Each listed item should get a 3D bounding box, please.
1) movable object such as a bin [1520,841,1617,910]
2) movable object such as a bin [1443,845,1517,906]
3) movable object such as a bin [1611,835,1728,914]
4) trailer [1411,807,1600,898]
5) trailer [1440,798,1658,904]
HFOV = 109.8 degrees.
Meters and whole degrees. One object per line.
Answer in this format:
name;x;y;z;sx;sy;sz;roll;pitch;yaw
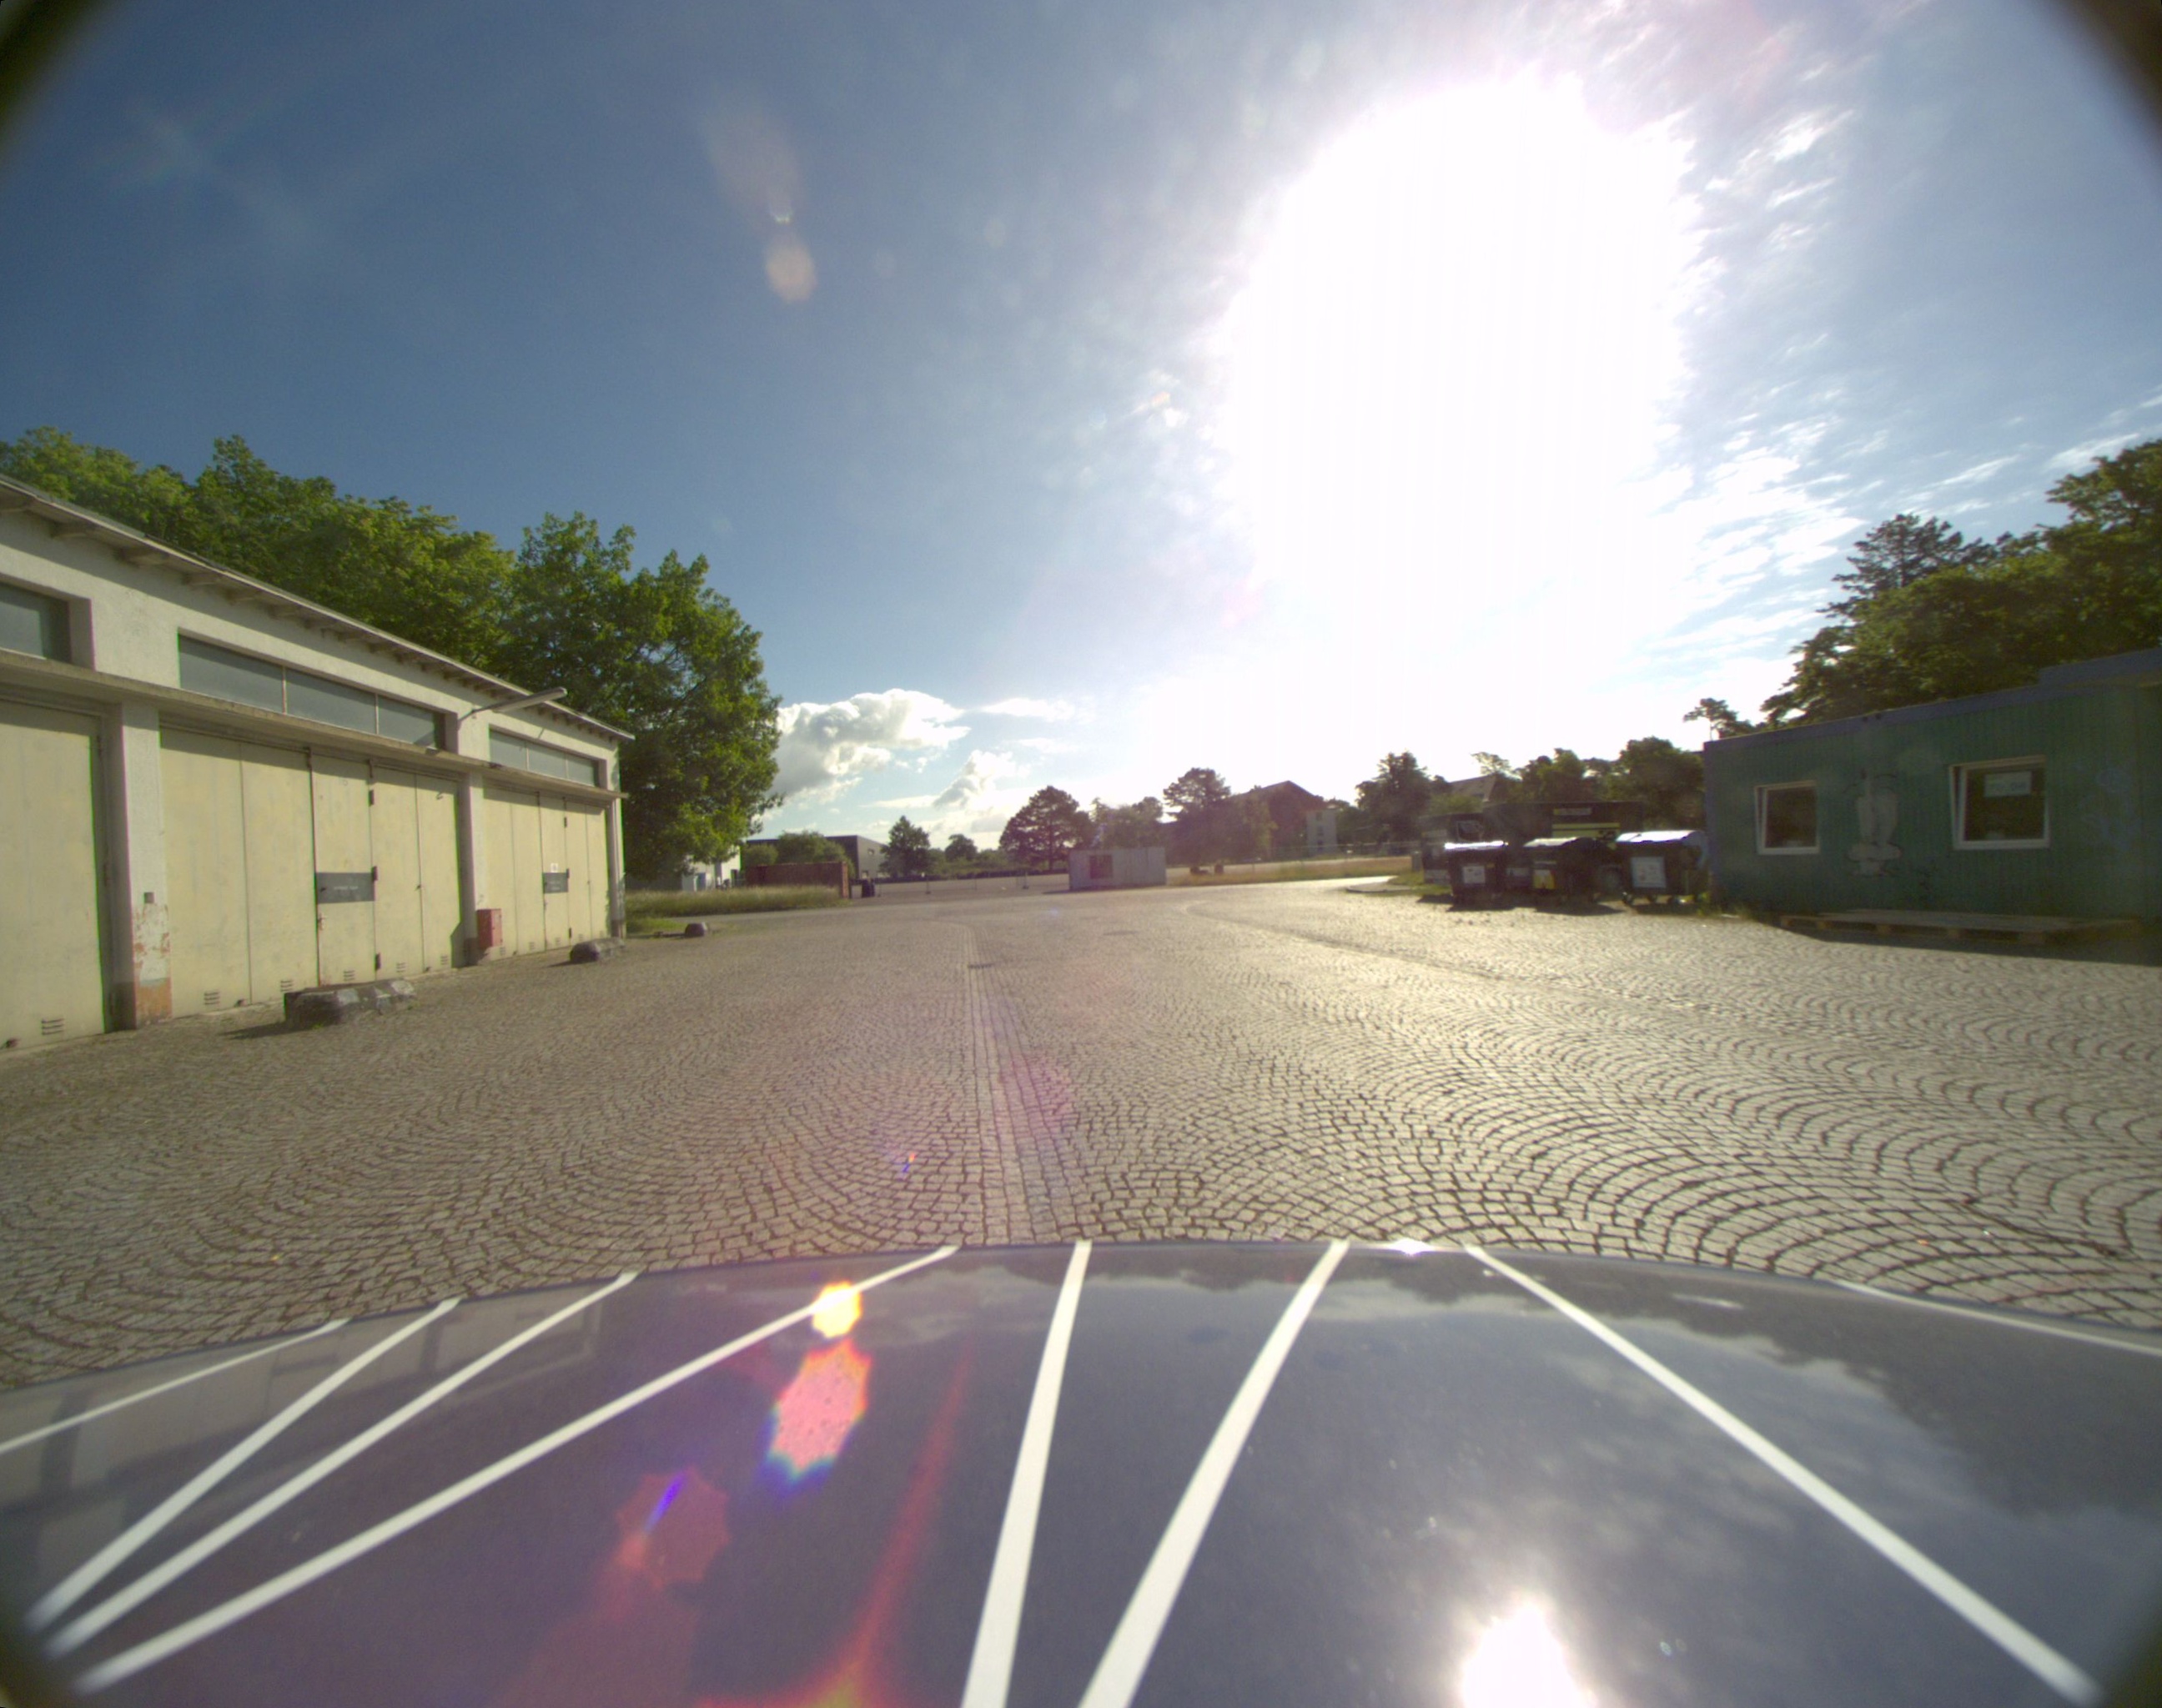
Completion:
movable object such as a bin;10.455;0.455;16.366;1.084;1.377;1.368;-3;0;-5
movable object such as a bin;9.637;0.519;18.360;1.361;1.377;1.050;-3;0;39
movable object such as a bin;11.497;0.395;14.889;1.089;1.428;1.407;-3;0;-21
trailer;12.436;-0.056;22.423;4.468;2.259;2.012;-4;0;-9
trailer;12.268;-0.099;19.993;4.857;2.377;1.941;-4;0;-14
